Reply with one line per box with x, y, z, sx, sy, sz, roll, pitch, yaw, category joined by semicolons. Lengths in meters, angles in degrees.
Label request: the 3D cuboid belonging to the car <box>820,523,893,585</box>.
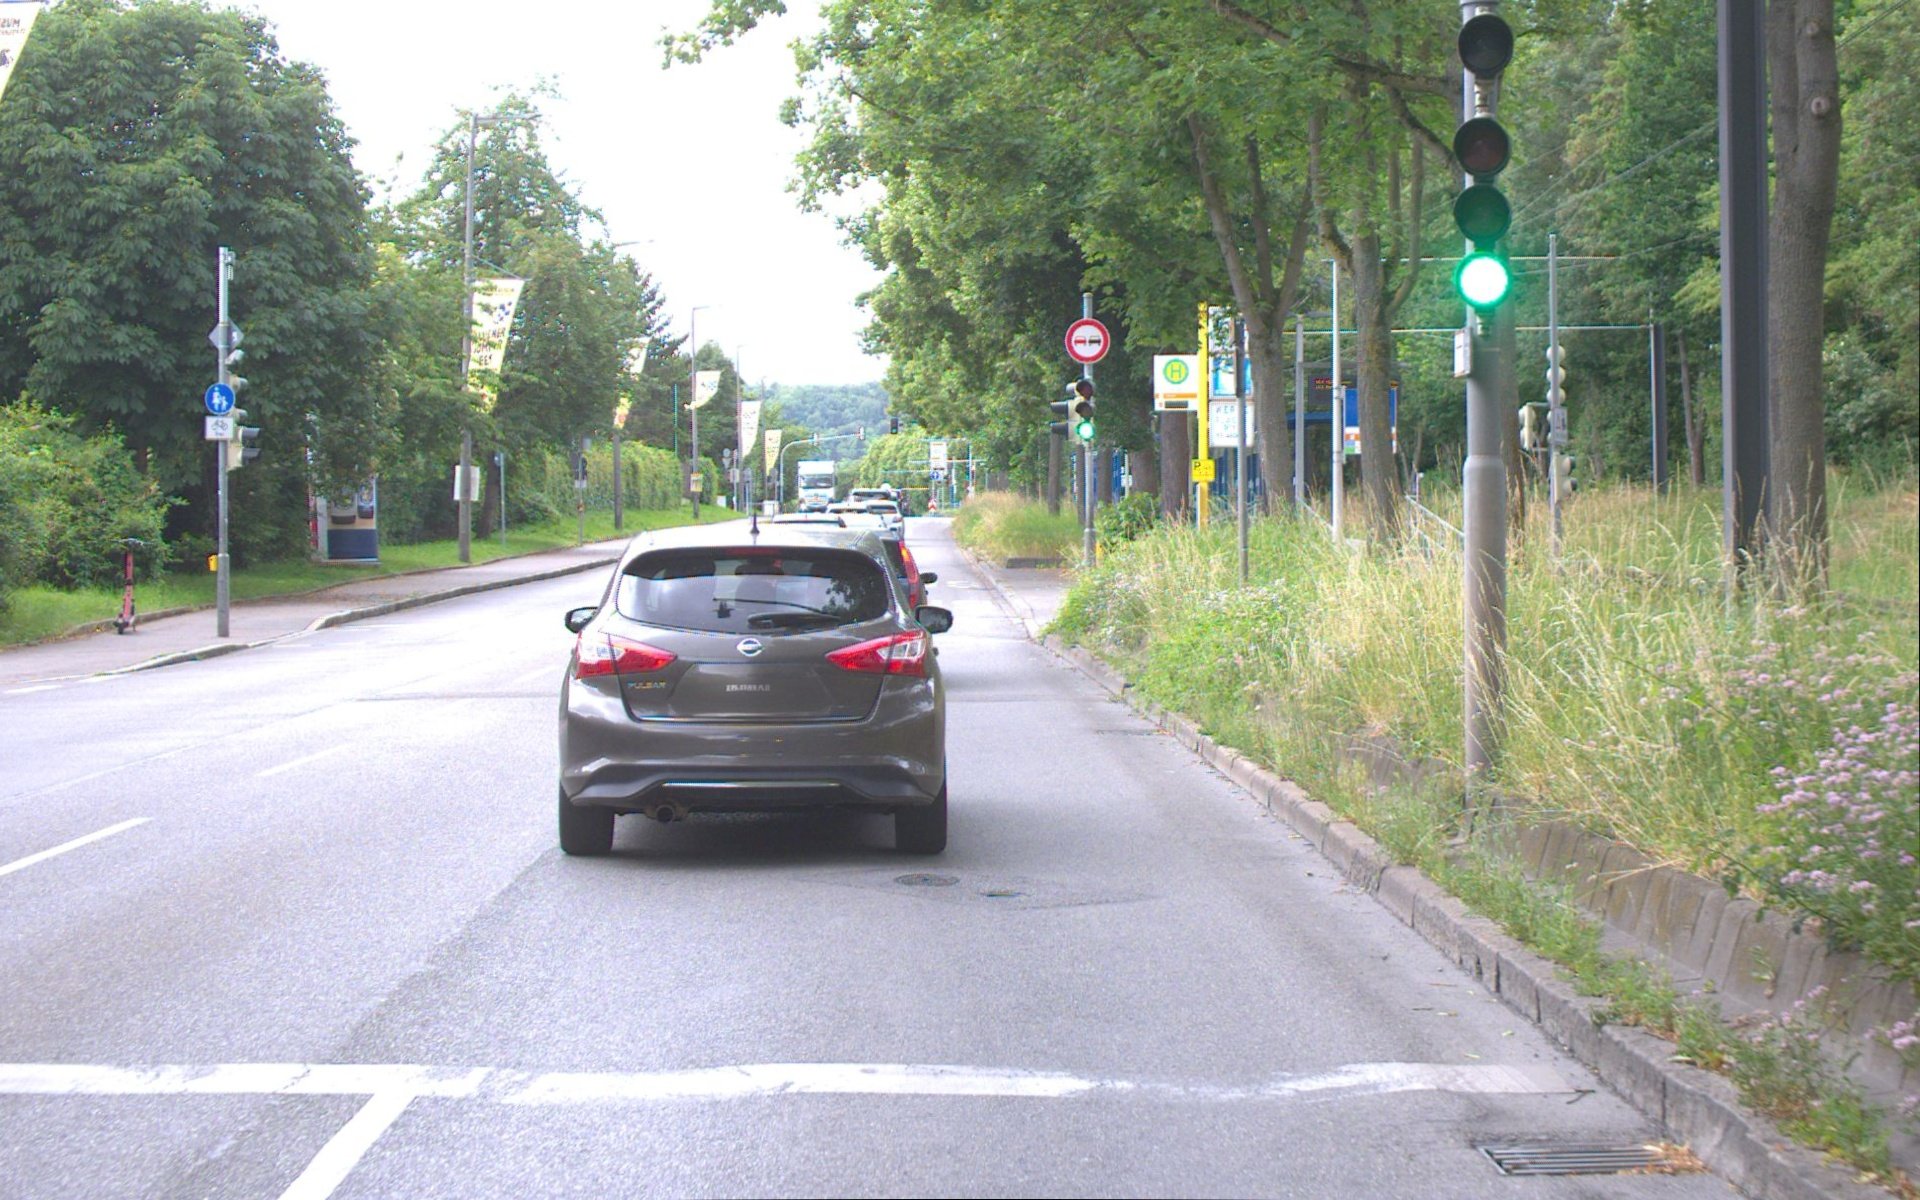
-2.470;-1.122;82.557;1.691;1.436;3.542;0;1;-1;car

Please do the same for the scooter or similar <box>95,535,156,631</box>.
-11.174;-0.242;46.041;0.462;1.254;1.426;0;1;0;scooter or similar

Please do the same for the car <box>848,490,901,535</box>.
-2.788;-2.873;112.513;1.691;1.436;3.542;0;1;-1;car

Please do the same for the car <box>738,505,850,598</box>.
-2.635;-0.800;55.294;1.691;1.436;3.542;0;1;-1;car

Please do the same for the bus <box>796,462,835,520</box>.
-10.209;-7.715;243.514;2.487;4.012;10.218;0;2;-1;bus

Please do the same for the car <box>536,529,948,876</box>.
-0.957;0.411;16.760;1.783;1.501;3.696;0;1;0;car

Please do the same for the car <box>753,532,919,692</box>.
-1.160;0.071;33.040;1.502;1.436;3.542;0;1;-1;car
